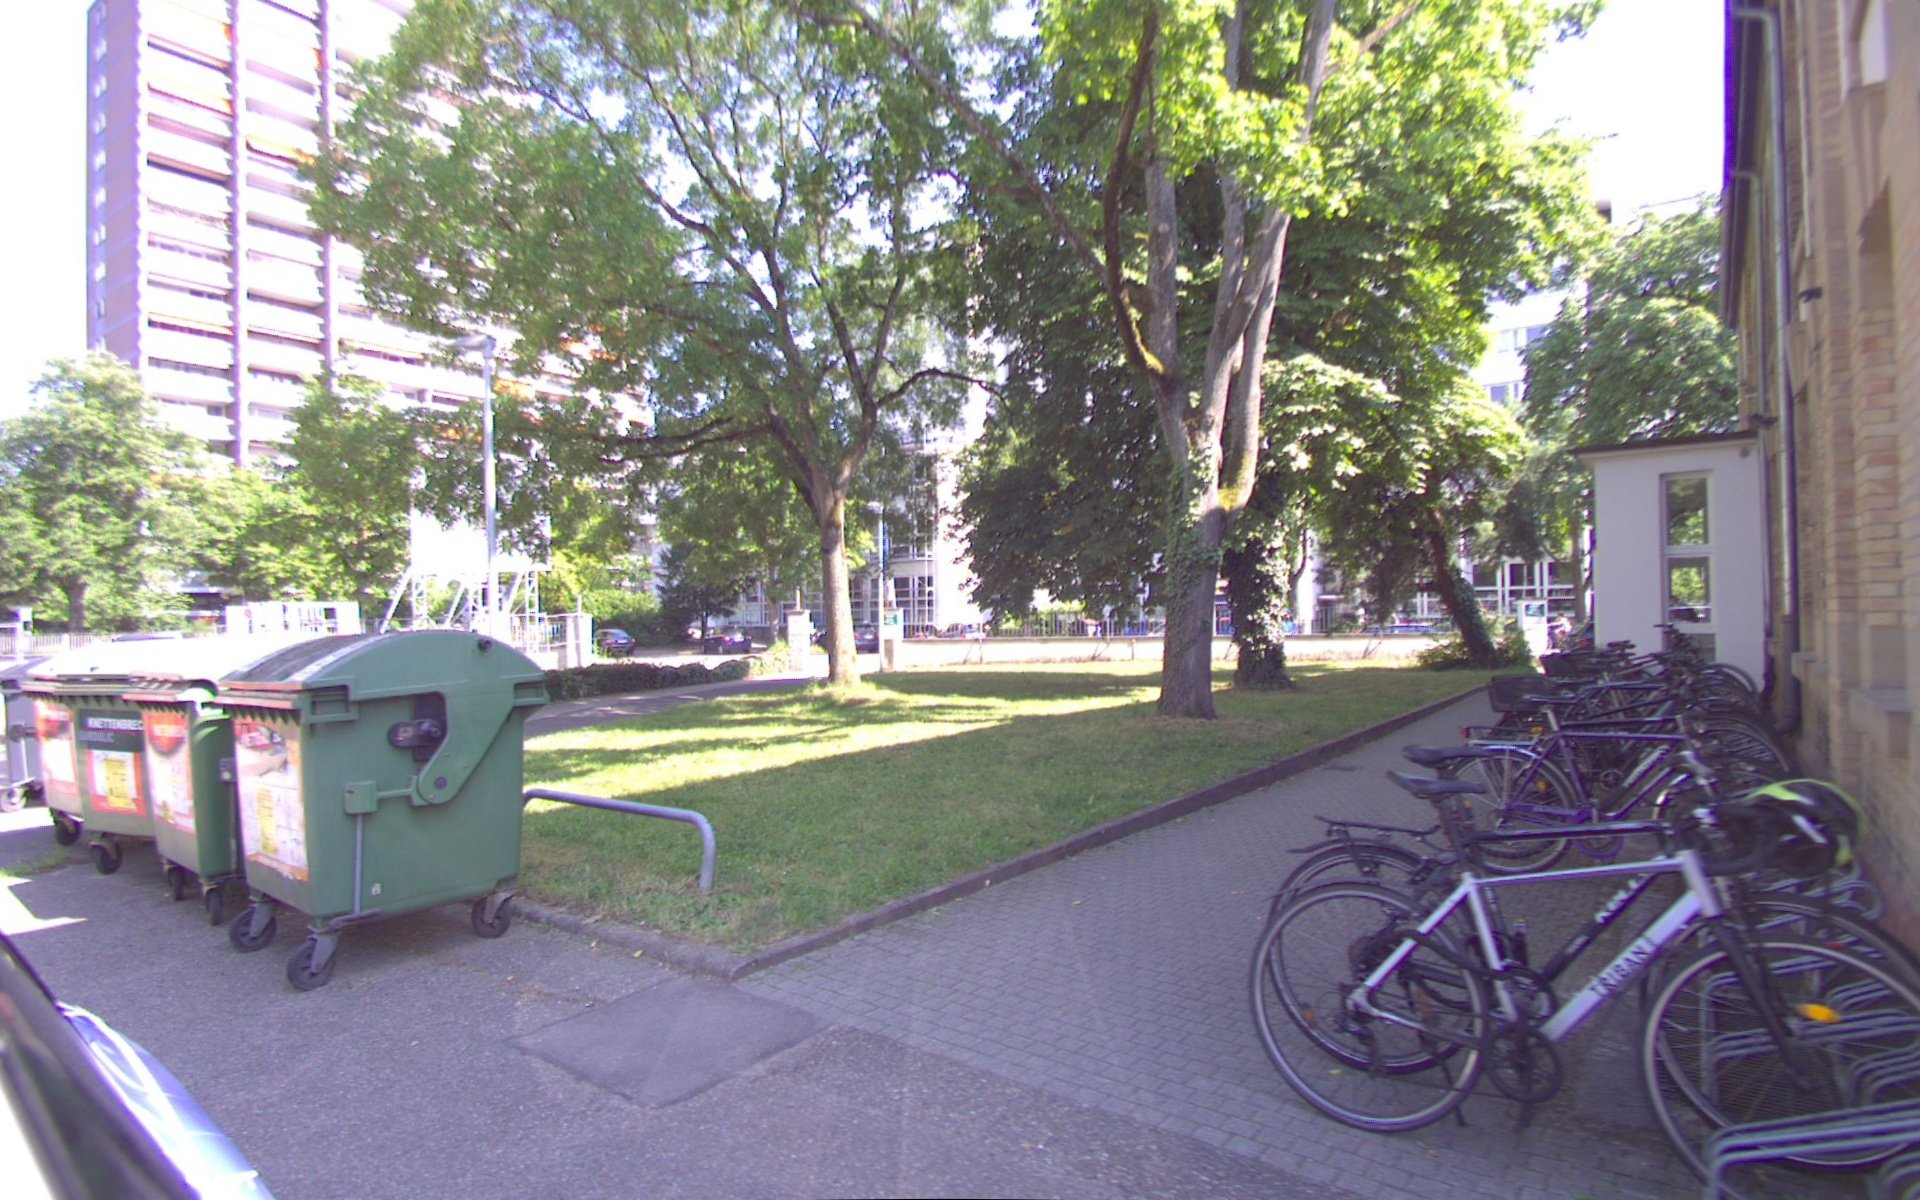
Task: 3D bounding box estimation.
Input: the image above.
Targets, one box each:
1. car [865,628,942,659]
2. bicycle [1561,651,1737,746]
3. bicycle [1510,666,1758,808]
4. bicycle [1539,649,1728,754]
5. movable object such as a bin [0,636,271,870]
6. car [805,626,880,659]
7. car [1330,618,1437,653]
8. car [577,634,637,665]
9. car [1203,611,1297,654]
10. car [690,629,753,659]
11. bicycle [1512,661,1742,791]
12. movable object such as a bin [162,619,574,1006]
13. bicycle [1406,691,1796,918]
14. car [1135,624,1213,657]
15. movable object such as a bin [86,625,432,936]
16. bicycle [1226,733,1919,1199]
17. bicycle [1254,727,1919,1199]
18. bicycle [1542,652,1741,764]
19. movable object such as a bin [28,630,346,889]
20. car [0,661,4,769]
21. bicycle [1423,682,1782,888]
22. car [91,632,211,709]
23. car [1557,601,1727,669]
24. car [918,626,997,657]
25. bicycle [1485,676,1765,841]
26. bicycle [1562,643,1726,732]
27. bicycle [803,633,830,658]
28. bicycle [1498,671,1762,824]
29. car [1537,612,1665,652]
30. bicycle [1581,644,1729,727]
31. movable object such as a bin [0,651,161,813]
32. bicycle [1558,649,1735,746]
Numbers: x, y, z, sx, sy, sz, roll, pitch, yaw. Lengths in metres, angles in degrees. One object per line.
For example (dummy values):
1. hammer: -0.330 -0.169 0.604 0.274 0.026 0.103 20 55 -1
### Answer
1. car: -2.918 2.206 51.323 1.773 1.487 4.193 0 -2 -39
2. bicycle: 7.810 1.091 11.524 1.598 0.997 0.369 -3 -2 40
3. bicycle: 5.206 1.019 7.882 1.540 1.000 0.440 -3 -3 40
4. bicycle: 6.889 1.016 10.403 1.540 1.000 0.440 -3 -3 40
5. movable object such as a bin: -6.068 1.026 7.442 1.334 1.493 1.235 -2 -2 32
6. car: -6.083 2.185 51.983 1.779 1.577 4.399 0 -2 -38
7. car: 19.680 1.691 47.172 1.753 1.550 4.229 1 -3 -36
8. car: -18.825 2.604 53.841 1.813 1.421 4.156 -2 0 -37
9. car: 13.642 1.581 47.826 1.758 1.921 4.009 1 -3 -36
10. car: -12.492 2.295 52.850 1.627 1.463 4.008 0 -2 -38
11. bicycle: 5.581 1.021 8.528 1.540 1.000 0.440 -3 -3 40
12. movable object such as a bin: -2.741 0.827 4.718 1.347 1.442 1.233 -2 -2 36
13. bicycle: 3.347 1.011 5.408 1.684 1.000 0.440 -3 -3 40
14. car: 10.273 1.950 48.841 1.680 1.475 3.862 0 -2 -25
15. movable object such as a bin: -3.912 0.879 5.671 1.363 1.442 1.233 -2 -2 36
16. bicycle: 1.516 0.895 2.617 1.540 1.000 0.440 -3 -3 40
17. bicycle: 1.761 0.932 3.035 1.629 1.000 0.440 -3 -3 40
18. bicycle: 6.572 1.021 9.804 1.539 1.000 0.440 -3 -3 38
19. movable object such as a bin: -4.970 0.935 6.568 1.217 1.442 1.237 -2 -2 26
20. car: -14.239 1.490 11.841 1.650 1.423 4.148 -2 -3 19
21. bicycle: 3.625 0.991 5.820 1.665 1.000 0.440 -3 -3 40
22. car: -21.537 1.806 27.116 1.889 1.794 4.325 -2 -1 -31
23. car: 20.571 1.095 30.755 3.979 1.929 1.982 -2 -3 27
24. car: -0.173 2.102 51.534 1.772 1.497 4.350 0 -2 -36
25. bicycle: 4.527 1.035 6.964 1.540 1.000 0.440 -3 -3 40
26. bicycle: 8.126 1.027 12.065 1.540 1.000 0.440 -3 -3 40
27. bicycle: -8.485 2.679 59.833 0.487 1.389 1.997 -2 -2 28
28. bicycle: 4.881 1.031 7.441 1.540 1.000 0.440 -3 -3 40
29. car: 25.797 1.288 40.835 3.954 1.493 1.640 -2 -1 9
30. bicycle: 8.945 1.078 13.077 1.538 1.000 0.440 -1 0 36
31. movable object such as a bin: -8.686 1.236 9.940 1.227 1.407 1.408 0 -2 -35
32. bicycle: 7.528 1.047 11.140 1.540 1.000 0.440 -3 -3 40
